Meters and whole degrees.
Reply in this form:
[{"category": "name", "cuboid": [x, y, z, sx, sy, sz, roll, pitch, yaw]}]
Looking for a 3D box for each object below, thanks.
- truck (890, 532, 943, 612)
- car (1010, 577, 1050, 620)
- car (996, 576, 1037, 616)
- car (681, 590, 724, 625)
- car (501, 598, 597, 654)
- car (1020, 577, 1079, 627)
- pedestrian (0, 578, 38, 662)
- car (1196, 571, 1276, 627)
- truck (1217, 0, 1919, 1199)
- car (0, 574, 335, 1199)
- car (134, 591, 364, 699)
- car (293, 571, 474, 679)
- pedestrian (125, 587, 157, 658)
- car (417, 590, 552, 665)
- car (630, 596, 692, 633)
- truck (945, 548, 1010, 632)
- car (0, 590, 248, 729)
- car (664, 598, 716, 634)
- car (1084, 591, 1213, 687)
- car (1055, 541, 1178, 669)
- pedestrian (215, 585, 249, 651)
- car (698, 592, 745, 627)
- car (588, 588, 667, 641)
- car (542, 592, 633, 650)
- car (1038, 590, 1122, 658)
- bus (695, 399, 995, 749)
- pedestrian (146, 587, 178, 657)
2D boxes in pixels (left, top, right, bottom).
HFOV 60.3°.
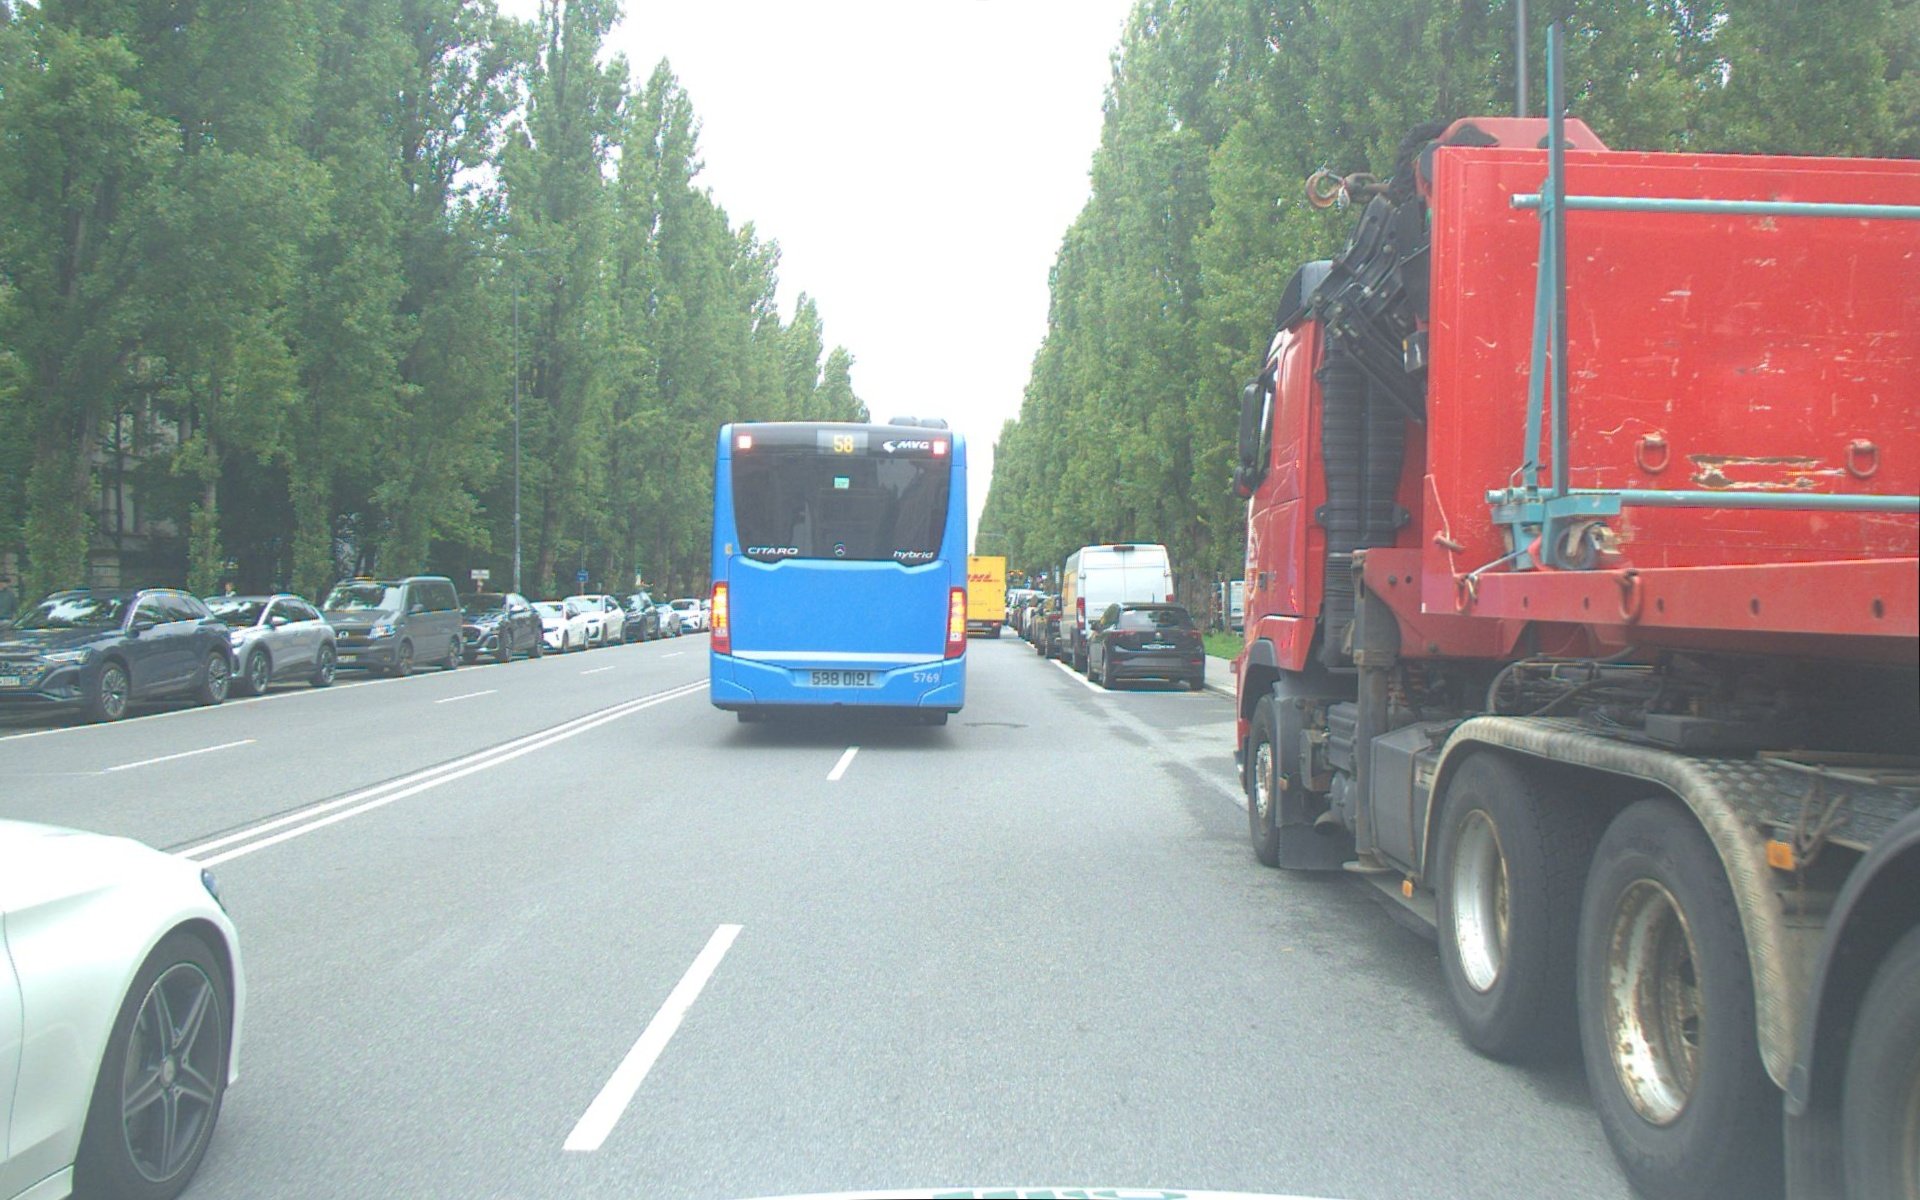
[{"category": "truck", "cuboid": [-2.356, -1.456, 88.495, 2.661, 4.034, 9.214, 0, 0, -2]}, {"category": "car", "cuboid": [3.324, -0.089, 79.545, 1.769, 2.011, 4.237, 0, 0, 0]}, {"category": "car", "cuboid": [2.955, -0.236, 87.771, 2.010, 2.049, 5.693, 0, 1, 0]}, {"category": "car", "cuboid": [-11.975, 0.332, 77.082, 1.709, 1.545, 4.113, -2, 0, -5]}, {"category": "car", "cuboid": [-11.660, 0.699, 47.131, 1.642, 1.447, 4.237, -2, 0, 0]}, {"category": "car", "cuboid": [3.057, 0.047, 57.333, 1.744, 1.609, 4.146, 2, 0, -1]}, {"category": "pedestrian", "cuboid": [-21.352, 0.441, 37.235, 0.731, 1.886, 0.757, 0, 0, 1]}, {"category": "car", "cuboid": [10.015, -0.038, 60.419, 1.953, 1.959, 5.323, 0, 0, -1]}, {"category": "truck", "cuboid": [3.028, -0.169, 5.839, 2.658, 3.164, 10.427, 0, 0, 0]}, {"category": "car", "cuboid": [-2.672, 0.681, 2.314, 1.788, 1.480, 4.583, 1, 0, 1]}, {"category": "car", "cuboid": [-11.806, 0.681, 27.838, 1.852, 1.612, 4.654, -1, 0, 0]}, {"category": "car", "cuboid": [-11.725, 0.445, 34.028, 1.953, 1.990, 4.937, -2, 1, 0]}, {"category": "pedestrian", "cuboid": [-20.384, 0.556, 41.172, 0.498, 1.737, 0.569, 0, 0, 1]}, {"category": "car", "cuboid": [-11.480, 0.623, 40.297, 1.778, 1.637, 5.053, -2, 0, 0]}, {"category": "car", "cuboid": [-11.529, 0.540, 63.974, 1.548, 1.327, 4.029, -2, 0, 1]}, {"category": "truck", "cuboid": [0.584, -0.387, 61.780, 2.280, 2.949, 7.332, 0, 0, -1]}, {"category": "car", "cuboid": [-11.505, 0.721, 22.319, 1.746, 1.623, 4.613, -2, 1, 0]}, {"category": "car", "cuboid": [-11.815, 0.687, 72.683, 1.651, 1.437, 4.004, -2, 0, -1]}, {"category": "car", "cuboid": [3.204, 0.618, 28.772, 1.718, 1.475, 4.000, 2, 0, 0]}, {"category": "car", "cuboid": [3.310, 0.072, 36.173, 2.032, 2.522, 6.283, 1, 0, 0]}, {"category": "pedestrian", "cuboid": [-19.875, 0.481, 45.177, 0.596, 1.787, 0.757, 0, 0, -1]}, {"category": "car", "cuboid": [-11.784, 0.457, 81.841, 1.777, 1.671, 4.000, 0, 0, -1]}, {"category": "car", "cuboid": [-11.616, 0.478, 58.131, 1.842, 1.687, 4.717, -3, 1, -1]}, {"category": "car", "cuboid": [-11.652, 0.627, 52.054, 1.749, 1.616, 4.462, -2, 1, 1]}, {"category": "car", "cuboid": [3.017, 0.570, 42.210, 1.784, 1.618, 4.222, 1, 0, -1]}, {"category": "bus", "cuboid": [-1.259, -0.273, 20.075, 2.798, 3.269, 9.055, 0, 0, -2]}, {"category": "pedestrian", "cuboid": [-19.846, 0.541, 41.150, 0.498, 1.737, 0.569, 0, 0, 1]}]
